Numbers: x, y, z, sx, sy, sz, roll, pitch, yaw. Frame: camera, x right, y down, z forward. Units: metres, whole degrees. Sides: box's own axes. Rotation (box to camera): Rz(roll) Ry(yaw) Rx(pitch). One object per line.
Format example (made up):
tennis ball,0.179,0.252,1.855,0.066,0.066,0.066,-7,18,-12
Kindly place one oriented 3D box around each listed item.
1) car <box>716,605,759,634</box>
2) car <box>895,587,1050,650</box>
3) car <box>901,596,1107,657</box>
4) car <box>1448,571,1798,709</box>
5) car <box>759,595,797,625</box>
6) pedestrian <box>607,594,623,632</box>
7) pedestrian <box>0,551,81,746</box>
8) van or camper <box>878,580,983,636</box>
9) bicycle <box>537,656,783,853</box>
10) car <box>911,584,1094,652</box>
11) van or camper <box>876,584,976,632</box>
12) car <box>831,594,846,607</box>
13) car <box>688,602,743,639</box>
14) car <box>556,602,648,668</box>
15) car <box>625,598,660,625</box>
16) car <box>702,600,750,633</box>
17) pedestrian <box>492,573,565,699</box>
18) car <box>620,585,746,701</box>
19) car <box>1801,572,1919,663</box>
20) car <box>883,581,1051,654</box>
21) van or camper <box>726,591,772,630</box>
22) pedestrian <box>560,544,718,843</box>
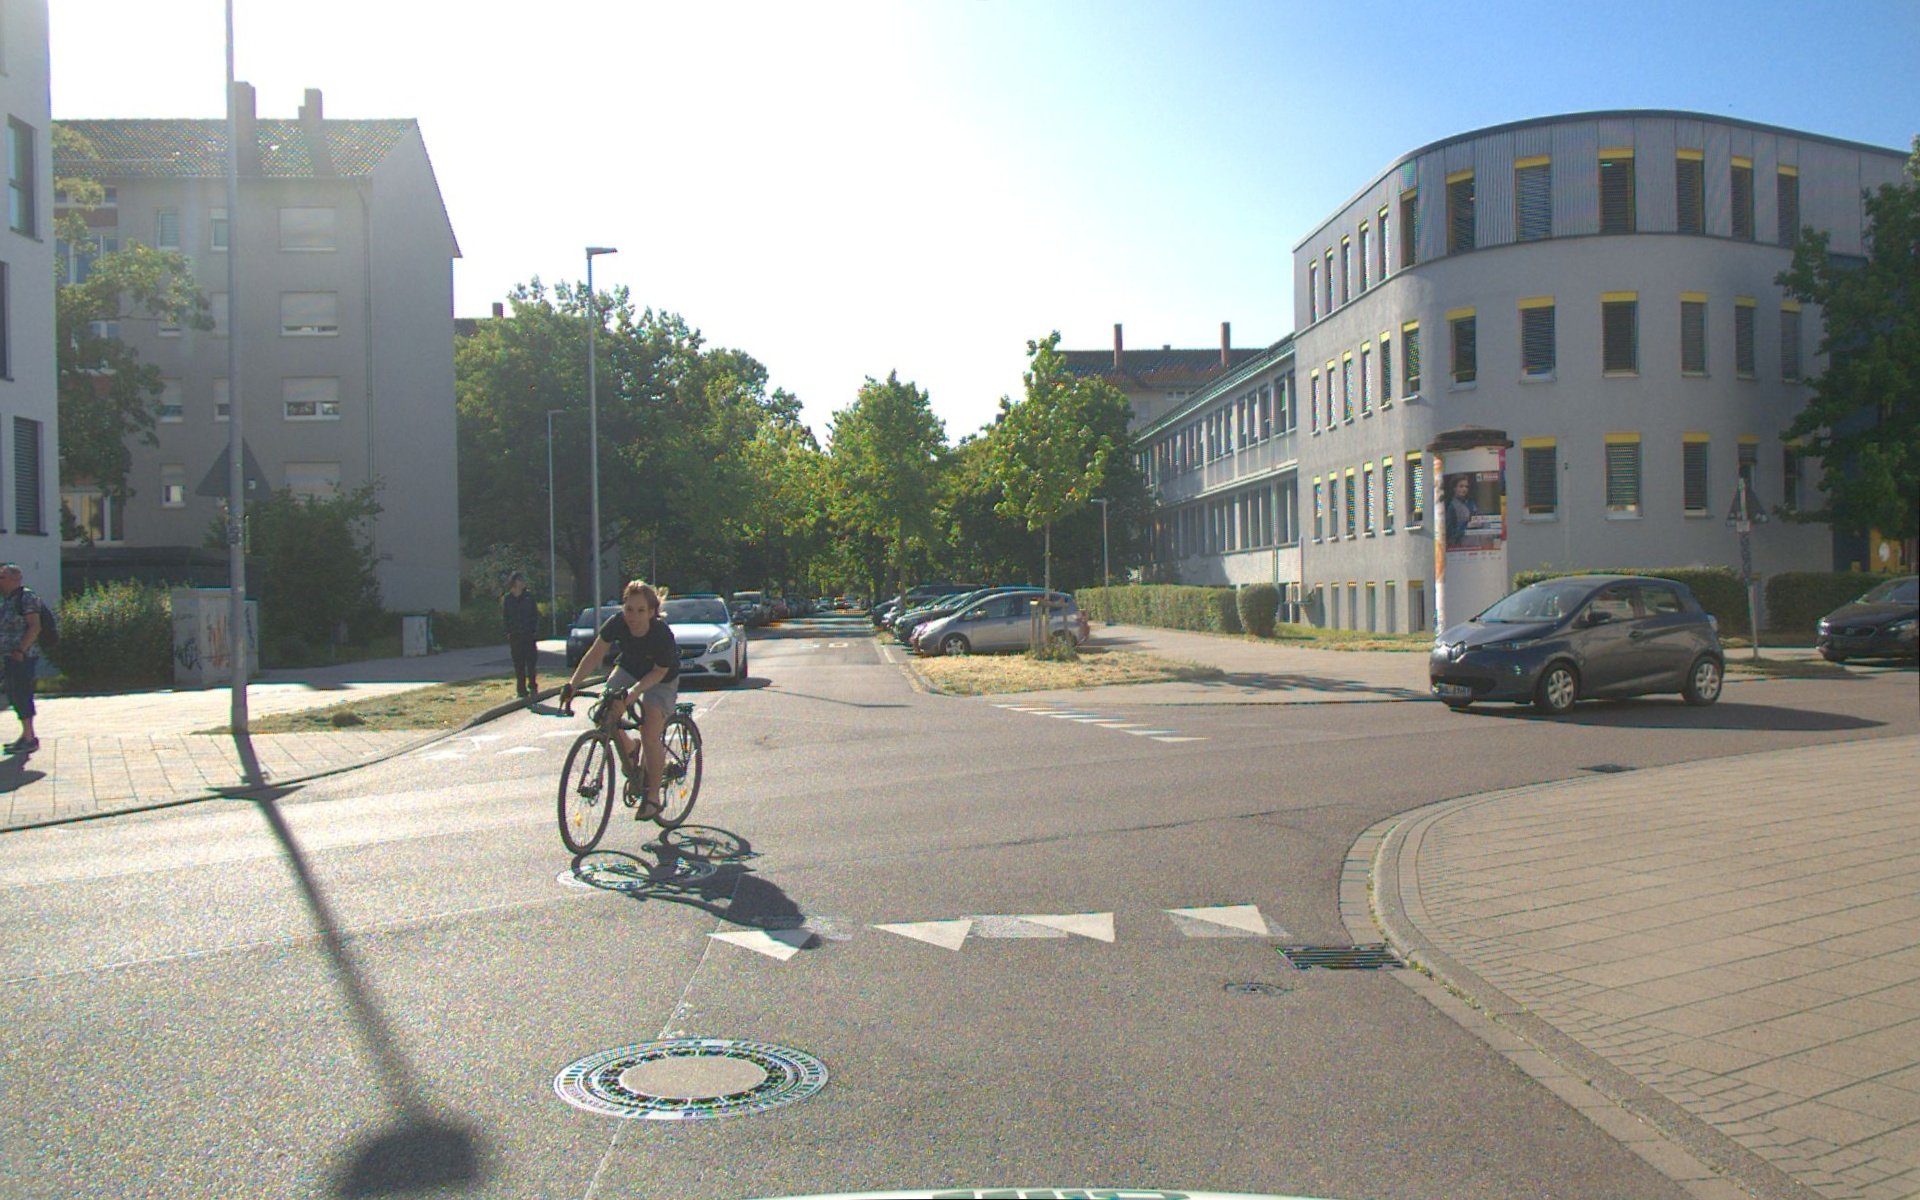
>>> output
car,-11.202,0.985,83.539,1.806,1.422,3.997,-1,-1,-3
car,0.320,0.515,46.069,4.122,1.624,1.998,1,-1,-6
car,1.037,0.638,40.090,4.778,1.296,1.725,-2,0,-8
car,8.068,0.450,20.079,4.079,1.530,1.825,0,0,-29
car,-12.854,0.728,117.042,1.951,2.049,4.002,1,-1,4
pedestrian,-15.730,0.600,75.418,0.622,1.693,0.698,-1,0,-9
pedestrian,-9.480,0.484,16.721,0.829,1.918,0.788,1,-1,-14
van or camper,-1.155,0.306,63.756,3.908,2.049,1.998,1,-1,-4
bicycle,-1.758,0.874,10.004,0.537,1.029,1.919,-1,-1,21
car,0.949,0.408,38.044,4.010,1.518,1.726,0,-1,-7
van or camper,-1.404,0.329,66.376,3.908,1.803,1.998,1,-1,-4
car,-16.259,0.051,221.943,1.954,1.778,3.997,-1,0,-4
car,-9.870,0.839,67.099,1.806,1.422,3.997,-1,-1,-3
car,-8.384,0.804,39.043,1.635,1.445,3.995,1,-1,-5
car,-15.444,0.570,80.480,1.248,1.246,2.662,-1,0,-2
car,-10.678,0.748,75.708,1.955,1.432,3.903,1,-1,-6
pedestrian,-6.151,0.497,23.641,0.854,1.744,0.978,-1,0,-7
car,-4.578,0.630,27.431,1.851,1.530,4.629,-2,3,-9
car,16.407,0.250,28.205,4.167,1.435,1.776,-1,1,-31
car,0.142,0.453,43.232,4.196,1.795,1.997,1,-1,-6
van or camper,-11.417,0.594,89.666,1.953,2.049,3.999,1,-1,-1
pedestrian,-1.879,0.527,9.815,0.675,1.669,1.046,1,-1,2
